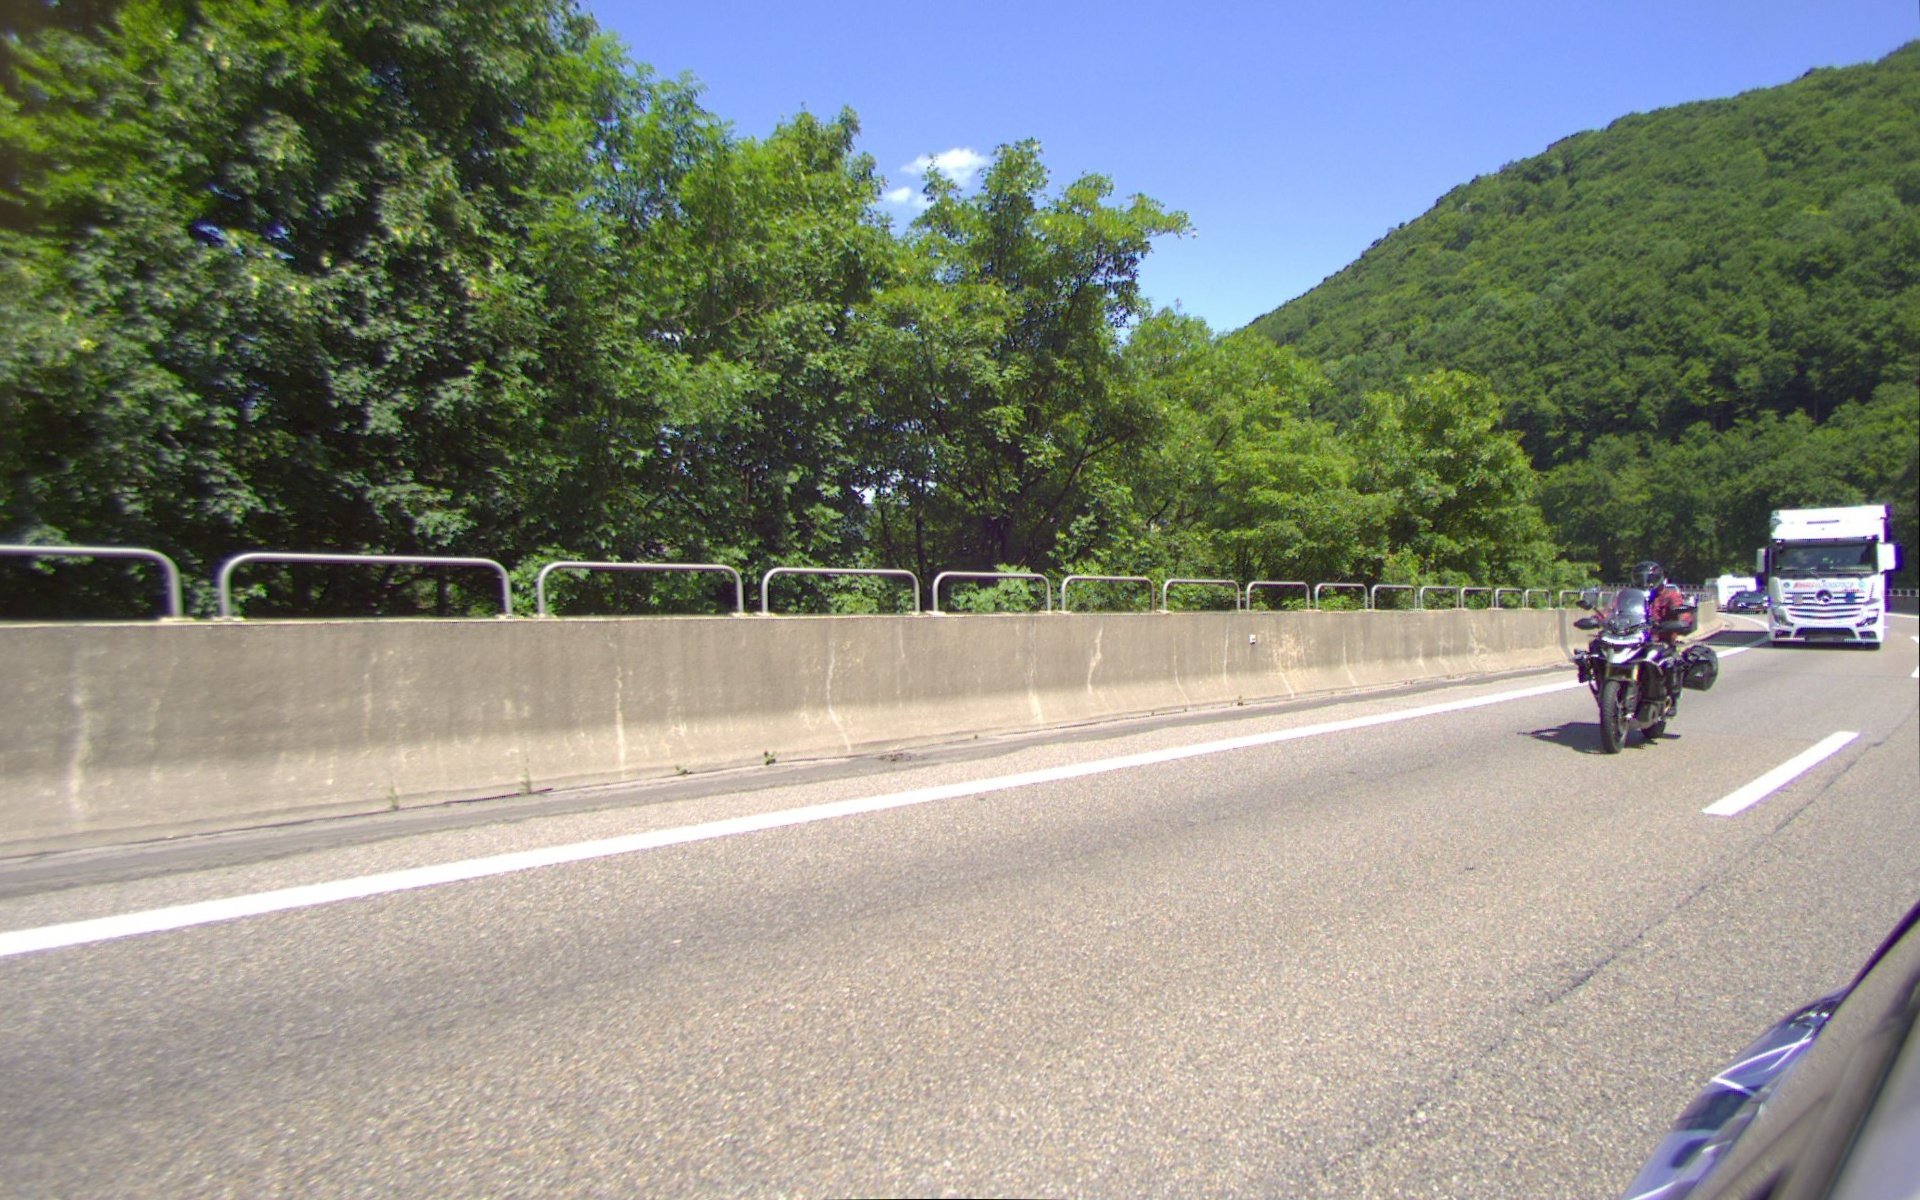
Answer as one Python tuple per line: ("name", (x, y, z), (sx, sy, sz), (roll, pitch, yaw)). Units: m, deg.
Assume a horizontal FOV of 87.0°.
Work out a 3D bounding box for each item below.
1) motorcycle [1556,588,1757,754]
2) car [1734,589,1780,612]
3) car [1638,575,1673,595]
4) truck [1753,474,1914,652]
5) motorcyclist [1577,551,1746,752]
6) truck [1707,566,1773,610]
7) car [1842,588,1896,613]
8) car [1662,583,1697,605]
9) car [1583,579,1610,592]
("motorcycle", (6.909, 0.601, 9.969), (2.633, 1.437, 0.974), (-1, 0, -40))
("car", (55.895, 0.020, 71.042), (1.740, 1.507, 3.945), (1, 1, 27))
("car", (73.482, -1.604, 106.964), (1.973, 2.039, 3.978), (1, 1, 18))
("truck", (26.825, -0.934, 30.878), (2.959, 4.185, 16.452), (0, 0, 42))
("motorcyclist", (6.940, 0.467, 10.012), (1.314, 1.823, 1.063), (1, -1, -40))
("truck", (58.350, -0.892, 75.863), (2.593, 3.141, 6.792), (0, 0, 27))
("car", (55.870, 0.024, 62.278), (1.742, 1.507, 3.938), (0, 1, 31))
("car", (70.796, -0.605, 99.617), (1.977, 2.039, 3.970), (0, 1, 22))
("car", (88.361, -2.040, 140.565), (1.971, 1.816, 3.982), (0, 0, 15))
